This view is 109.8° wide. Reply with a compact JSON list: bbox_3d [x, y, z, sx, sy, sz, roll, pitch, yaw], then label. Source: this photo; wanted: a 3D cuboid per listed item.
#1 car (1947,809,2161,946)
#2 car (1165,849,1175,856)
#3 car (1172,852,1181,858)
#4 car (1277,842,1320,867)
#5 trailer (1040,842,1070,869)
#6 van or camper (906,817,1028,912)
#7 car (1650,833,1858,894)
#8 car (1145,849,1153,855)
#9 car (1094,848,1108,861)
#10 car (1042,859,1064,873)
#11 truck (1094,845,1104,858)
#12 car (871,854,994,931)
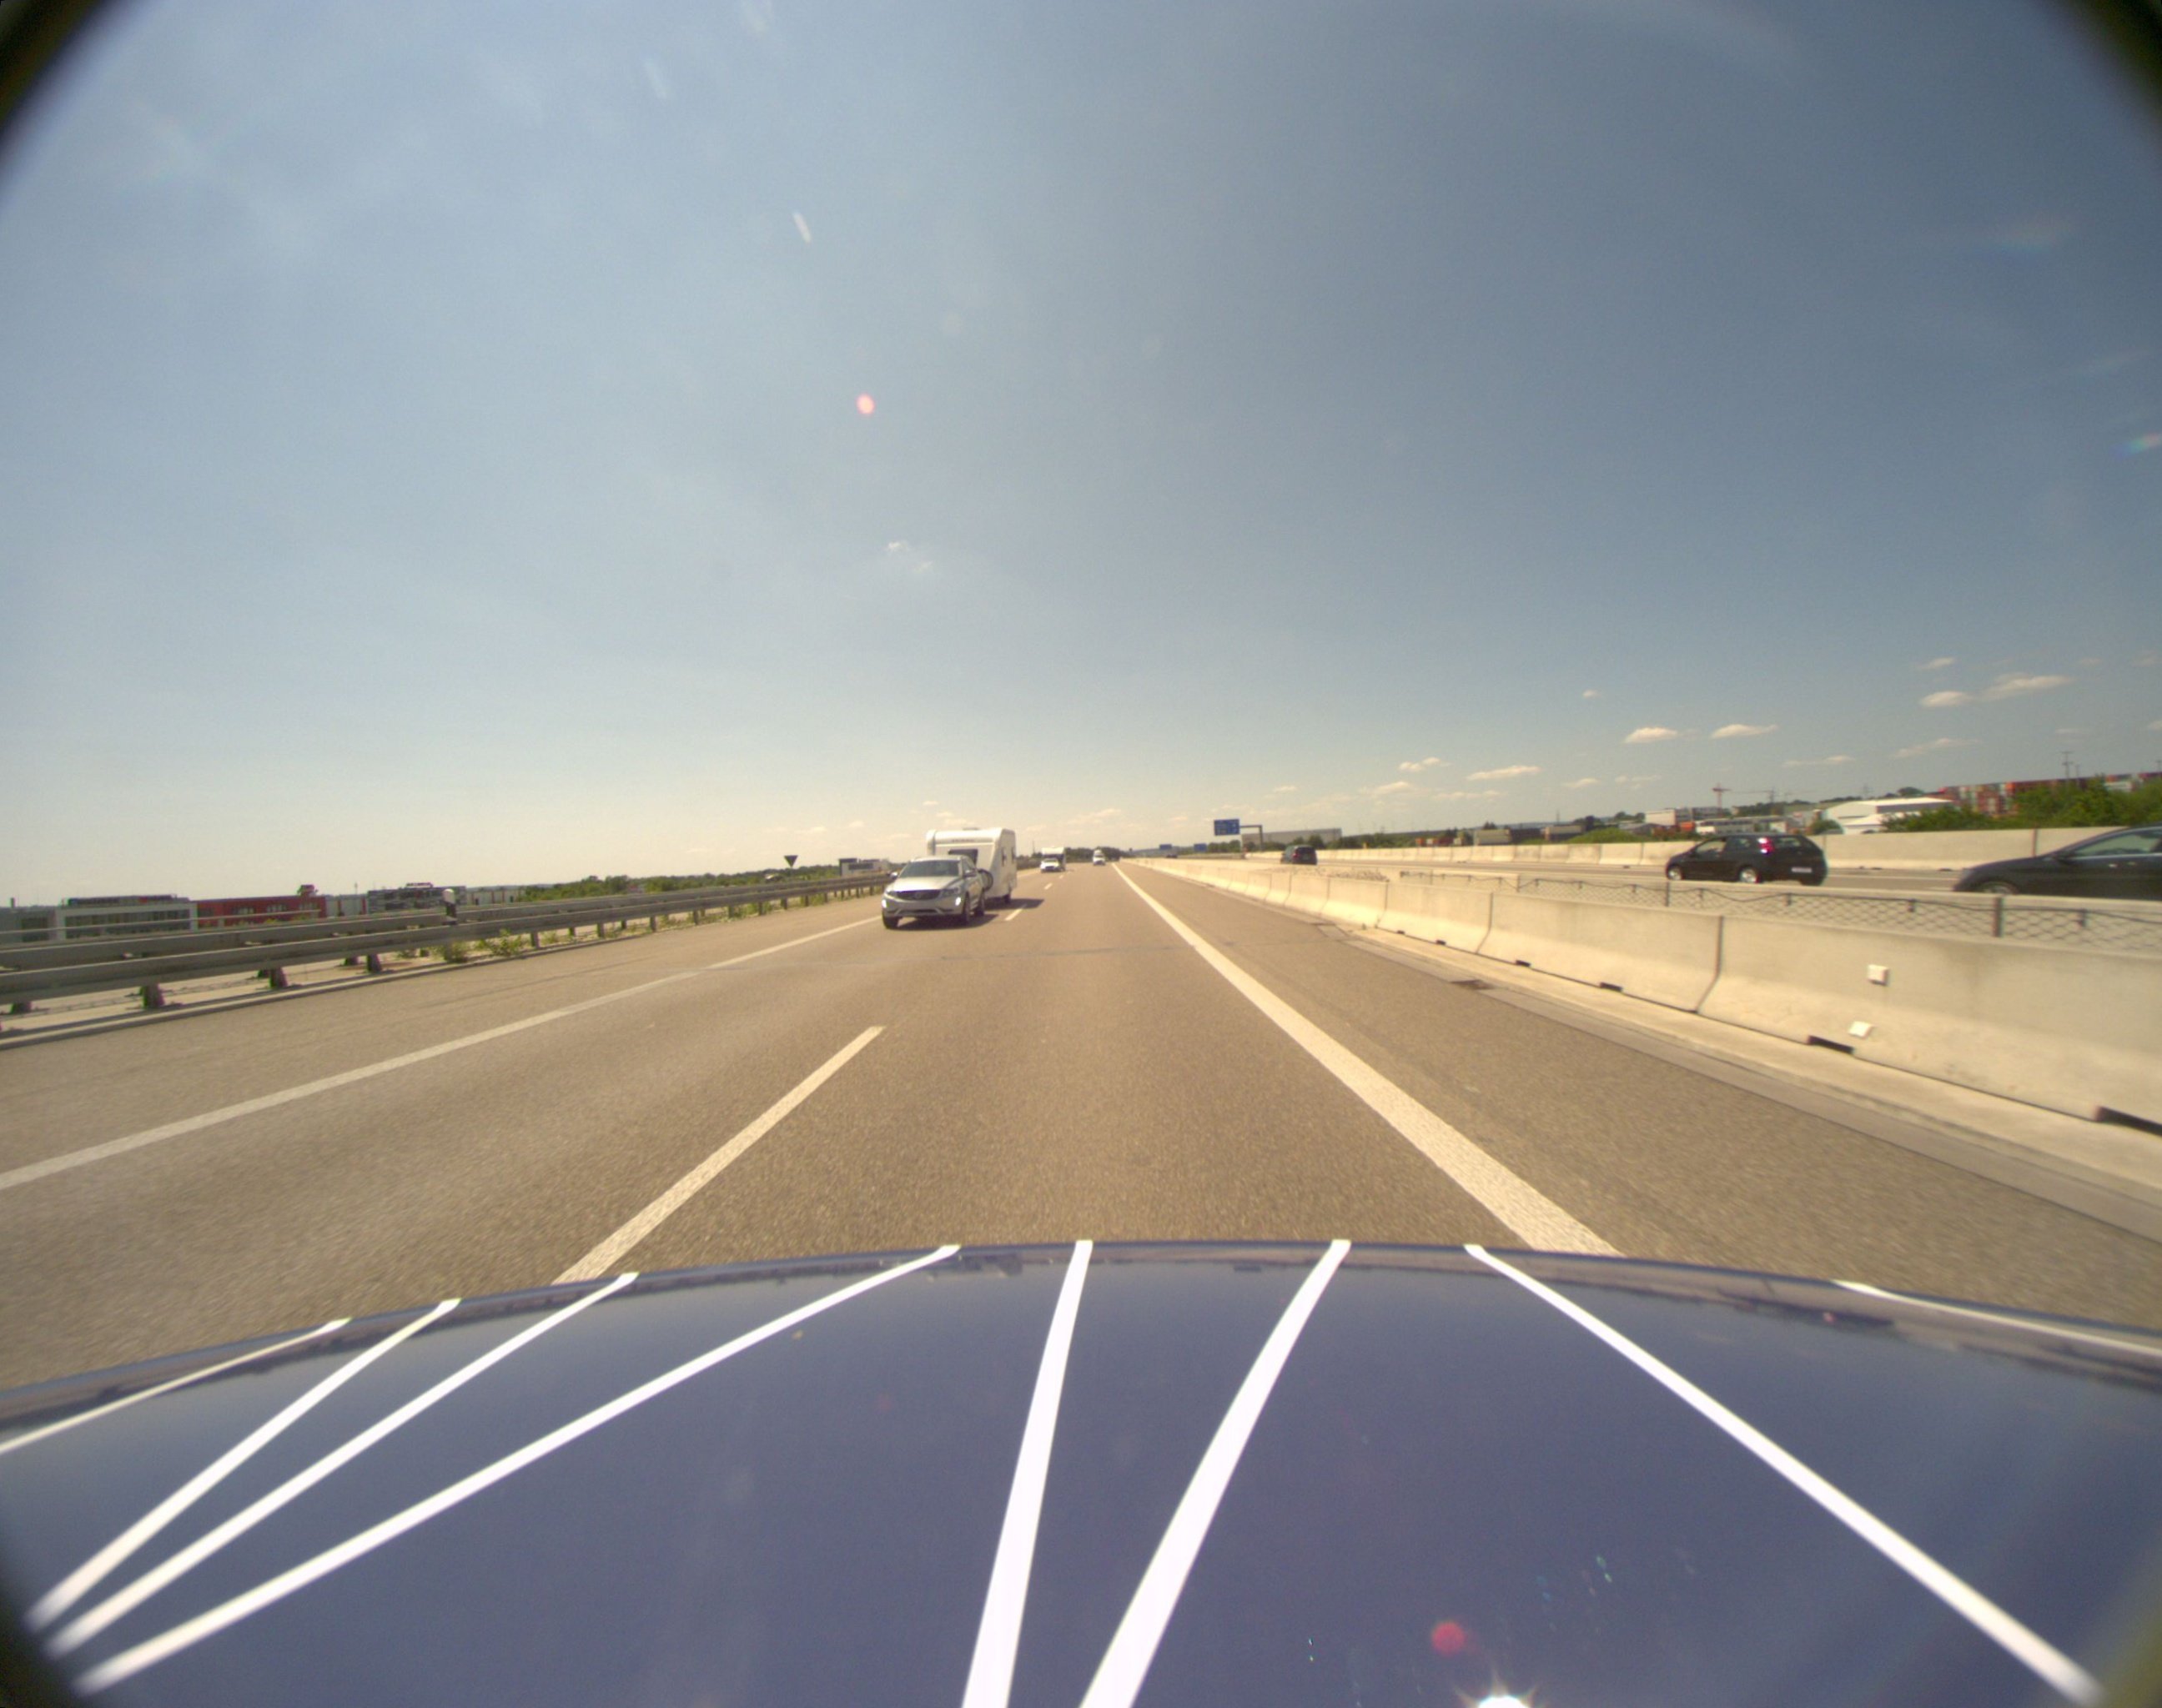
[{"bbox_3d":[13.978,0.249,9.093,1.998,1.659,4.649,-2,0,2],"label":"car"},{"bbox_3d":[21.037,-0.385,179.408,1.917,1.412,4.909,-2,0,3],"label":"car"},{"bbox_3d":[25.520,0.203,203.482,1.915,1.412,4.550,-2,0,2],"label":"car"},{"bbox_3d":[16.124,0.035,56.560,1.889,1.676,5.016,-2,0,3],"label":"car"},{"bbox_3d":[-2.727,0.126,82.418,2.500,2.686,7.156,-2,0,4],"label":"trailer"},{"bbox_3d":[-3.470,0.332,25.208,2.518,2.577,7.819,-2,0,2],"label":"van or camper"},{"bbox_3d":[18.154,0.225,20.825,1.915,1.451,4.284,-2,0,1],"label":"car"},{"bbox_3d":[17.151,-0.510,191.751,1.847,1.412,4.525,-2,0,2],"label":"car"},{"bbox_3d":[3.159,0.083,118.843,1.998,2.002,4.000,-2,0,2],"label":"car"},{"bbox_3d":[-2.808,1.245,77.000,1.872,1.352,3.674,-1,0,4],"label":"car"},{"bbox_3d":[4.020,-0.602,171.017,2.168,2.797,6.490,-2,0,2],"label":"truck"},{"bbox_3d":[-3.497,0.844,18.921,1.885,1.613,4.905,-2,0,2],"label":"car"}]
